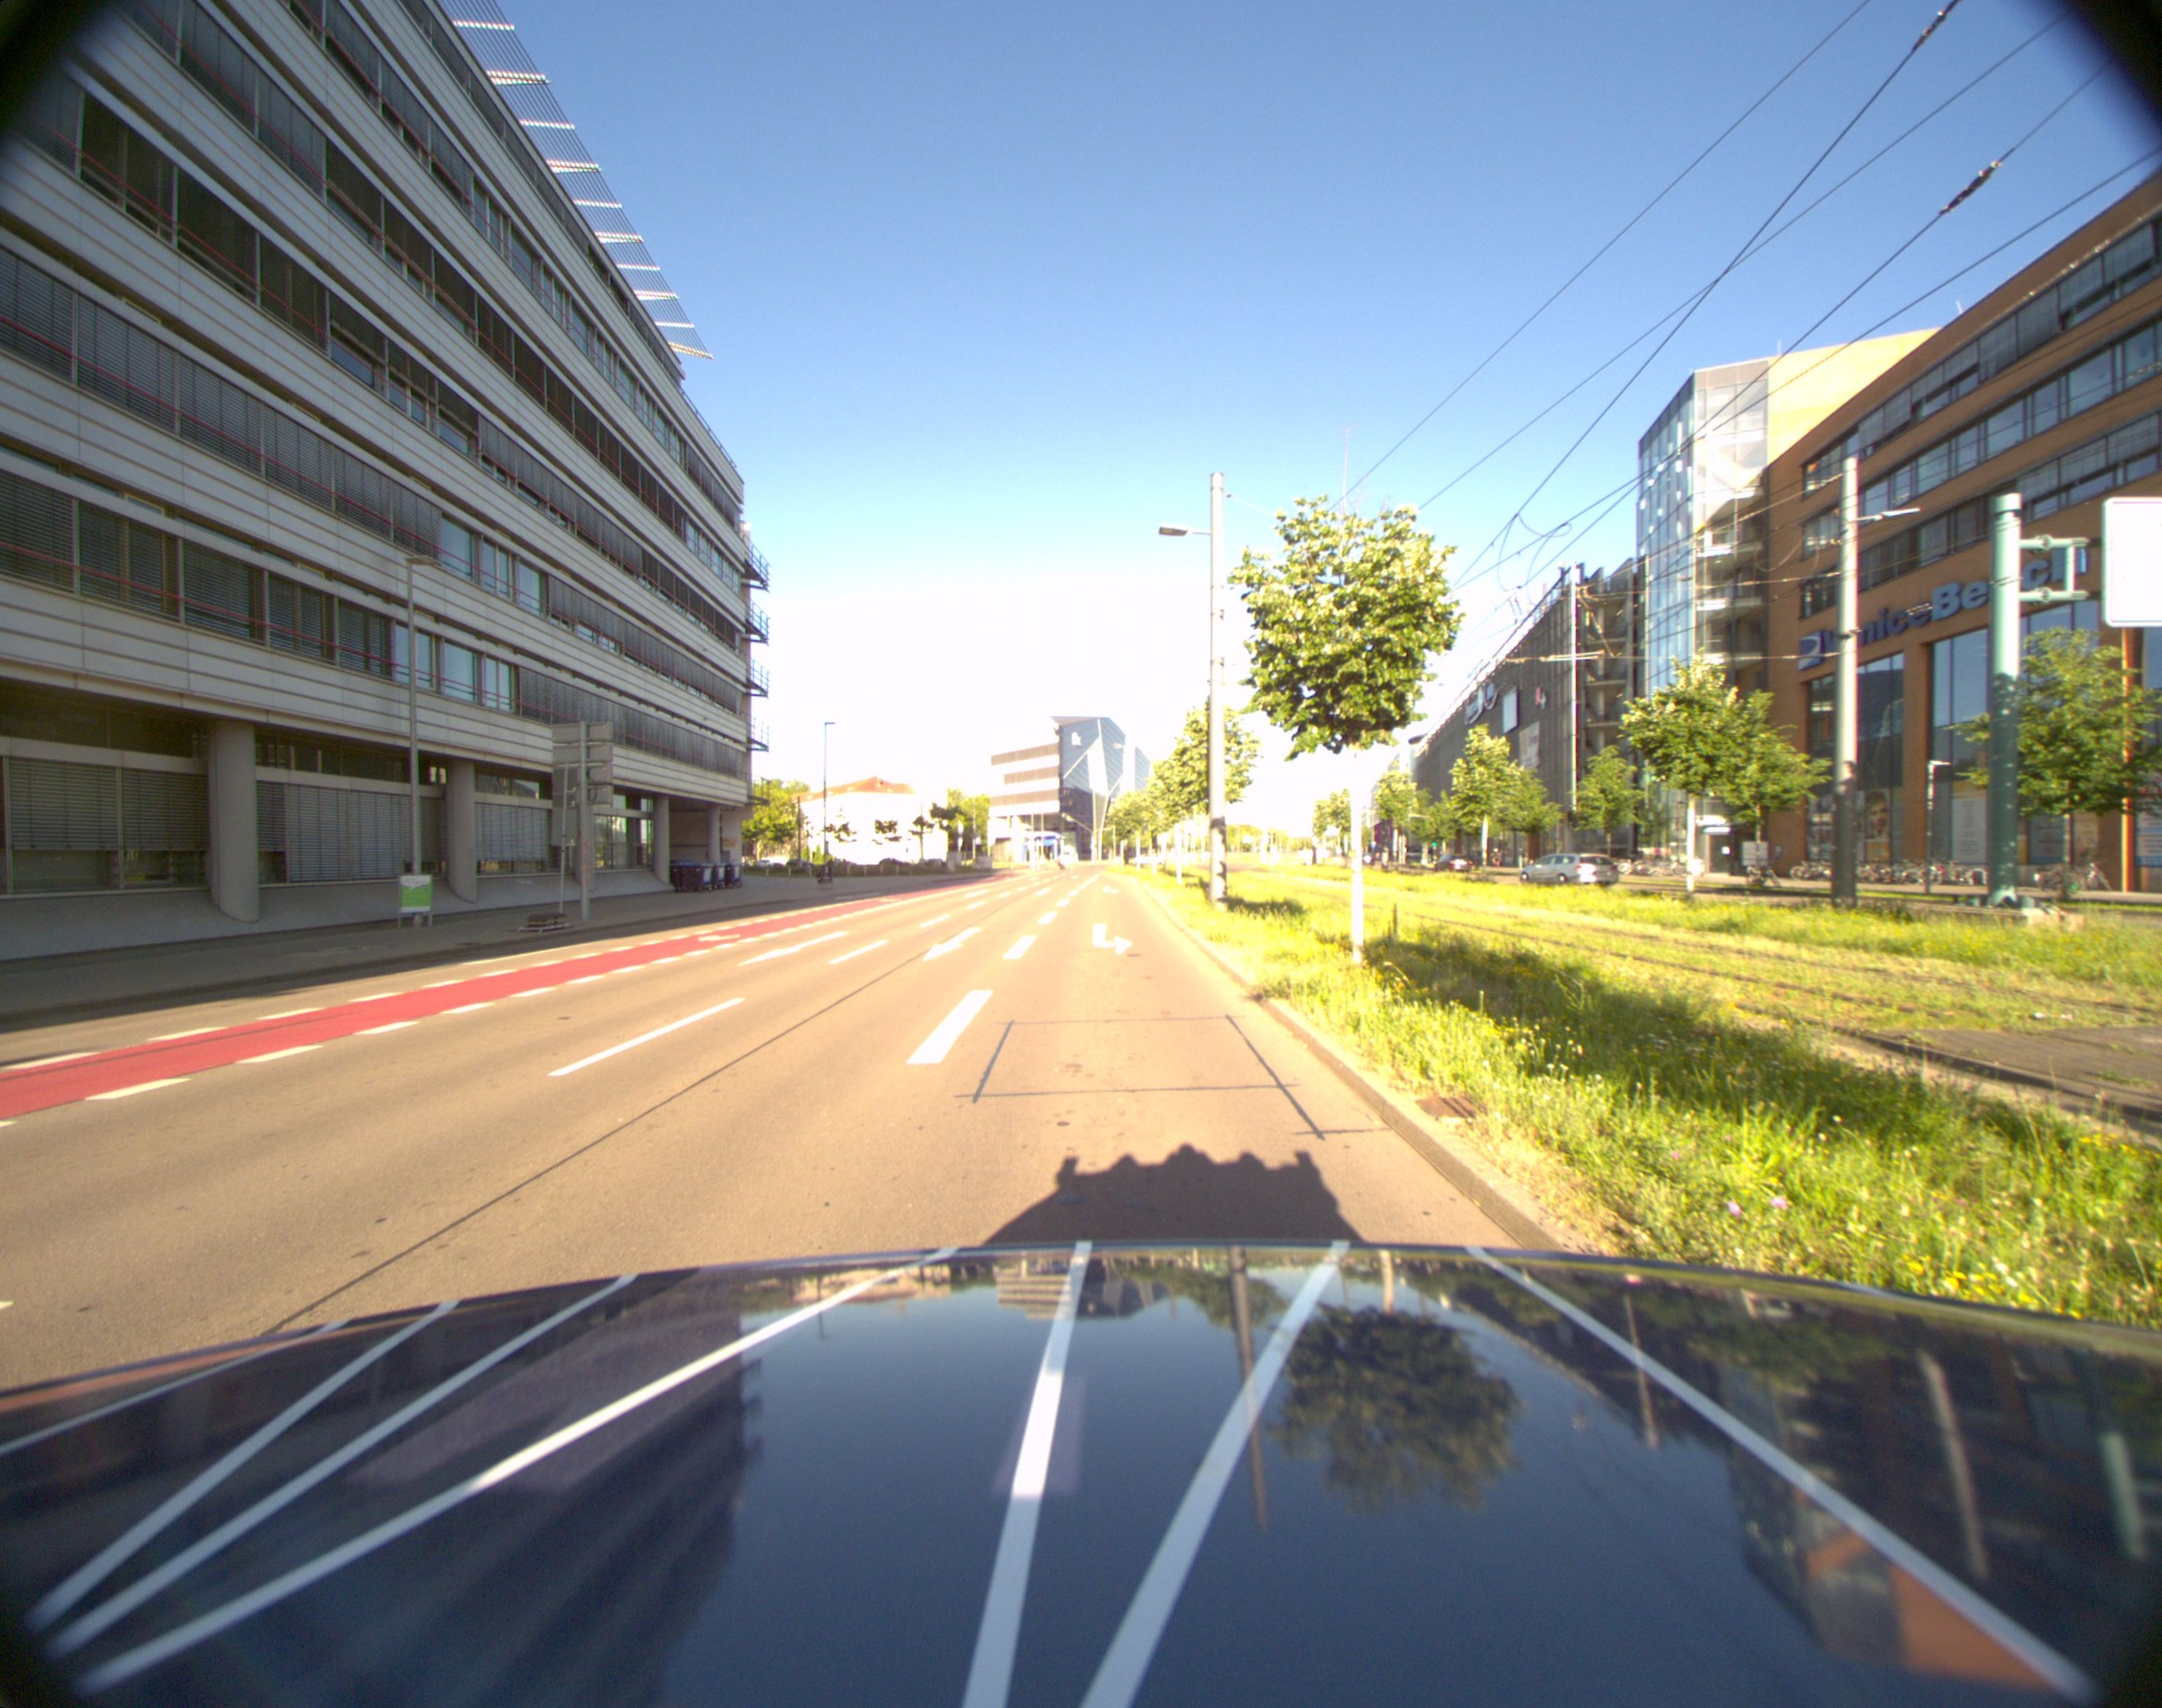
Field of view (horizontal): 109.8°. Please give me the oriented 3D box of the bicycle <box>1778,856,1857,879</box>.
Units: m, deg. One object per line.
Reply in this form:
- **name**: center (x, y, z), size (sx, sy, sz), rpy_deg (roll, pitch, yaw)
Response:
- **bicycle**: center (35.668, 0.640, 36.828), size (2.687, 1.097, 0.897), rpy_deg (0, 0, 11)

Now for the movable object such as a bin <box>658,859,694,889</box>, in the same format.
- **movable object such as a bin**: center (-19.084, 0.944, 35.829), size (1.109, 1.366, 1.108), rpy_deg (-1, 1, 1)

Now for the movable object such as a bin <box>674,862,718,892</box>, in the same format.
- **movable object such as a bin**: center (-17.150, 1.019, 33.855), size (1.328, 1.294, 1.174), rpy_deg (-1, 1, 1)

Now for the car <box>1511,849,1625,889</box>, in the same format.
- **car**: center (19.792, 0.557, 31.152), size (1.626, 1.519, 4.803), rpy_deg (-1, 0, 1)

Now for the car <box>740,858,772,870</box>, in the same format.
- **car**: center (-44.795, 1.364, 104.752), size (3.804, 1.523, 1.737), rpy_deg (-1, 1, -17)

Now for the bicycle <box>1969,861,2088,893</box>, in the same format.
- **bicycle**: center (33.494, 0.799, 26.892), size (2.687, 1.097, 0.897), rpy_deg (0, 0, 11)

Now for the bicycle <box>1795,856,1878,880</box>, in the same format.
- **bicycle**: center (35.427, 0.639, 35.668), size (2.687, 1.097, 0.897), rpy_deg (0, 0, 11)

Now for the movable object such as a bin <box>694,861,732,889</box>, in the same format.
- **movable object such as a bin**: center (-17.937, 1.007, 37.047), size (1.173, 1.294, 1.329), rpy_deg (-1, 1, 1)

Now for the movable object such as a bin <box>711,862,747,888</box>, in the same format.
- **movable object such as a bin**: center (-17.766, 1.054, 38.391), size (1.173, 1.294, 1.329), rpy_deg (-1, 1, 1)

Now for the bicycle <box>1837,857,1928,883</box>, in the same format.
- **bicycle**: center (34.582, 0.692, 32.805), size (2.687, 1.097, 0.897), rpy_deg (0, 0, 11)

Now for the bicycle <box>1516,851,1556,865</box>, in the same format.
- **bicycle**: center (37.928, 0.353, 63.354), size (2.687, 1.182, 0.897), rpy_deg (0, 0, 11)

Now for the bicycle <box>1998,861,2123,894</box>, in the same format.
- **bicycle**: center (33.295, 0.793, 25.864), size (2.687, 1.097, 0.897), rpy_deg (0, 0, 11)

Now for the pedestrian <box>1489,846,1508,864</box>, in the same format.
- **pedestrian**: center (38.020, 0.082, 69.247), size (1.072, 1.671, 1.095), rpy_deg (-1, 1, -6)

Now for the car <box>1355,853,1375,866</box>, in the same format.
- **car**: center (32.105, 0.603, 85.935), size (1.624, 1.519, 4.360), rpy_deg (1, 0, 14)

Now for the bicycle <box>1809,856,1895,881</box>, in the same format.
- **bicycle**: center (34.913, 0.661, 34.443), size (2.687, 1.097, 0.897), rpy_deg (0, 0, 11)

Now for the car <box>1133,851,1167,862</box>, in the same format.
- **car**: center (9.603, 0.352, 105.787), size (4.343, 1.519, 1.682), rpy_deg (1, 1, 35)

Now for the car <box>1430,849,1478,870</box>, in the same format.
- **car**: center (28.310, 0.365, 57.821), size (1.626, 1.519, 4.355), rpy_deg (0, 0, 1)

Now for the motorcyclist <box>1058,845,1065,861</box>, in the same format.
- **motorcyclist**: center (-2.263, -0.123, 88.003), size (0.821, 1.846, 1.112), rpy_deg (0, 1, -2)

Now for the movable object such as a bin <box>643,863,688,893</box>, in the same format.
- **movable object such as a bin**: center (-18.513, 1.069, 33.900), size (1.328, 1.294, 1.174), rpy_deg (-1, 1, 1)

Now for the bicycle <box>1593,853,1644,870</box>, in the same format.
- **bicycle**: center (36.206, 0.510, 51.236), size (2.687, 1.097, 0.826), rpy_deg (0, 0, 11)

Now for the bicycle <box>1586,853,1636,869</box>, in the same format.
- **bicycle**: center (36.326, 0.499, 52.147), size (2.687, 1.097, 0.897), rpy_deg (0, 0, 11)

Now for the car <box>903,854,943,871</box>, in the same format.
- **car**: center (-15.407, 0.808, 73.997), size (3.790, 1.523, 1.744), rpy_deg (0, 1, 37)

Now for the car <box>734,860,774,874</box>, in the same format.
- **car**: center (-36.434, 1.483, 84.621), size (3.794, 1.523, 1.742), rpy_deg (0, 1, 13)

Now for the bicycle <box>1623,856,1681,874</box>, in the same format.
- **bicycle**: center (35.064, 0.670, 46.693), size (2.687, 1.097, 0.897), rpy_deg (0, 0, 11)

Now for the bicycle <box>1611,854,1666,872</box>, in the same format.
- **bicycle**: center (35.601, 0.563, 48.565), size (2.687, 1.097, 0.897), rpy_deg (0, 0, 11)

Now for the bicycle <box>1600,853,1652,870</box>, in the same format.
- **bicycle**: center (36.047, 0.526, 50.262), size (2.687, 1.097, 0.897), rpy_deg (0, 0, 11)

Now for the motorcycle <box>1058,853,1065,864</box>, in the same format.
- **motorcycle**: center (-2.257, 0.557, 87.920), size (0.821, 1.214, 2.255), rpy_deg (0, 1, -2)

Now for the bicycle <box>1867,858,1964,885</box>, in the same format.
- **bicycle**: center (34.509, 0.711, 31.467), size (2.687, 1.097, 0.897), rpy_deg (0, 0, 11)
